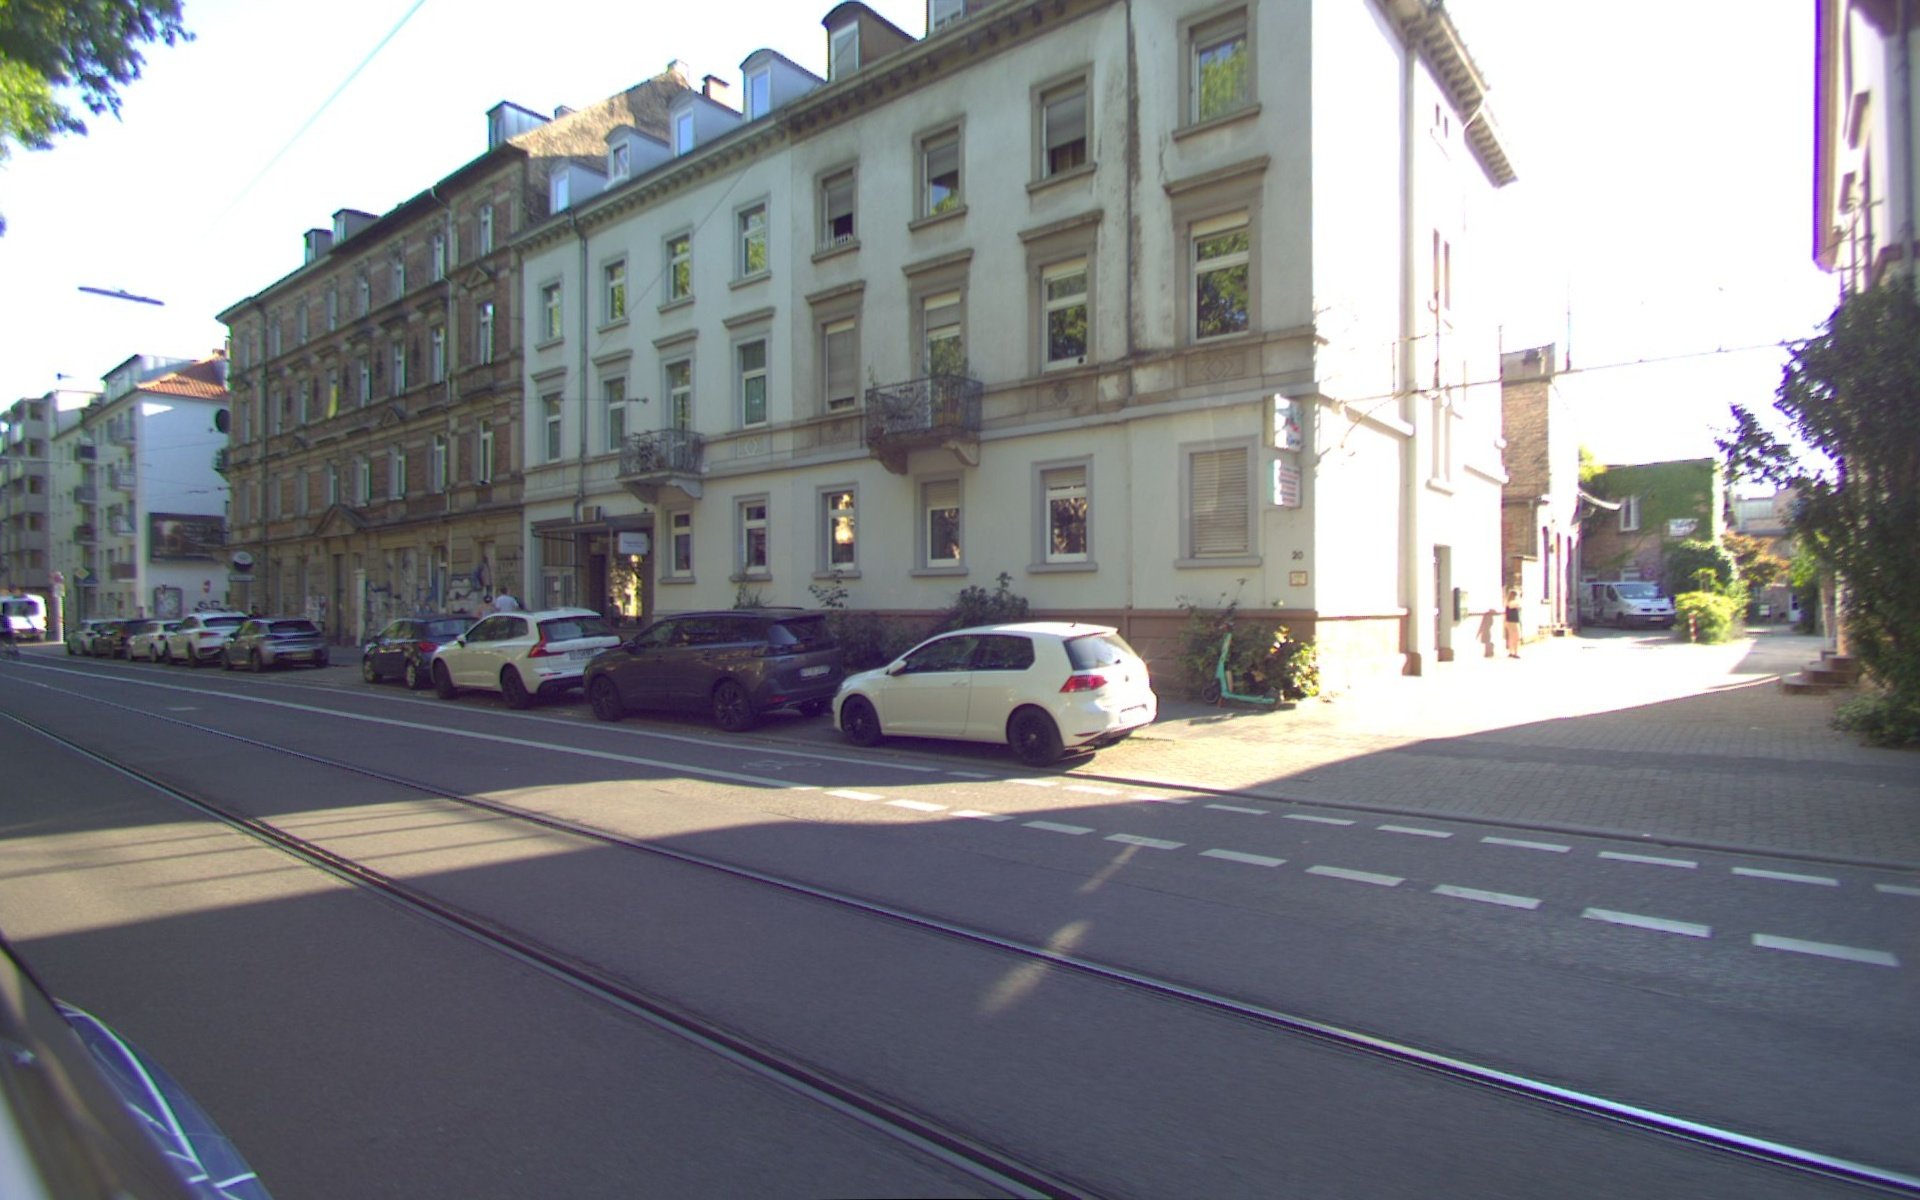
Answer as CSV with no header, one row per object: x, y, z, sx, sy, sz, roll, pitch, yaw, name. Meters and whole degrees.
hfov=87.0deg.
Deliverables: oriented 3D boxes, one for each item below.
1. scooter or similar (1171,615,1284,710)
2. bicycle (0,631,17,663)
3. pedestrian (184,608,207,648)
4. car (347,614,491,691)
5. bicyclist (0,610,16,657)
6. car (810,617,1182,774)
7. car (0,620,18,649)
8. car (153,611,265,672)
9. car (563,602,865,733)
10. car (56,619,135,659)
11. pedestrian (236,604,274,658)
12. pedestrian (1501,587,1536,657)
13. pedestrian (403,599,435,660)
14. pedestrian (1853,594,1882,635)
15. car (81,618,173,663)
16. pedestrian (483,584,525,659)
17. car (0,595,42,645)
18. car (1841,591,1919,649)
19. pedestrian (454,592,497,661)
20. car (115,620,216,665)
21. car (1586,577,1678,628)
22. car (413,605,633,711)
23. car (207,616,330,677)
3.810,0.863,14.501,0.441,1.290,1.577,0,-1,-42,scooter or similar
-33.862,1.655,35.845,1.845,1.094,0.476,-1,-1,41,bicycle
-35.243,1.293,46.648,0.893,1.762,0.649,-3,-1,43,pedestrian
-11.737,1.069,21.857,3.923,1.527,1.537,-1,-1,42,car
-33.769,1.185,35.779,0.799,1.648,0.468,-1,-1,40,bicyclist
0.293,0.979,11.947,4.254,1.488,1.670,-1,0,40,car
-55.784,1.963,58.240,4.341,1.644,1.702,-1,-1,38,car
-23.631,1.253,31.788,4.714,1.736,1.769,-1,1,40,car
-3.810,0.919,15.295,4.648,1.716,1.841,-1,-1,35,car
-35.730,1.562,41.801,4.040,1.503,1.724,-1,1,39,car
-24.016,1.047,34.466,1.053,1.814,0.679,-1,0,31,pedestrian
13.526,0.530,24.521,0.496,1.652,0.597,-1,-1,-2,pedestrian
-15.140,0.812,28.348,0.653,1.678,0.771,-1,0,-19,pedestrian
34.300,0.540,38.265,0.548,1.539,0.562,-1,0,0,pedestrian
-31.706,1.491,38.478,4.780,1.574,1.724,-1,1,39,car
-12.662,0.590,28.099,0.829,2.029,0.752,-1,-1,38,pedestrian
-51.548,1.074,54.846,5.664,2.555,2.043,-1,-1,41,car
24.546,0.487,25.214,3.561,1.416,1.610,-1,-1,24,car
-13.112,0.709,27.408,0.828,1.835,0.752,-1,-1,37,pedestrian
-27.570,1.433,35.085,3.991,1.431,1.684,-1,1,36,car
27.891,0.087,42.158,1.787,2.007,3.823,-1,1,11,car
-8.134,0.973,18.607,4.760,1.716,1.837,-1,-1,41,car
-19.389,1.237,28.328,4.058,1.532,1.647,-1,1,38,car
